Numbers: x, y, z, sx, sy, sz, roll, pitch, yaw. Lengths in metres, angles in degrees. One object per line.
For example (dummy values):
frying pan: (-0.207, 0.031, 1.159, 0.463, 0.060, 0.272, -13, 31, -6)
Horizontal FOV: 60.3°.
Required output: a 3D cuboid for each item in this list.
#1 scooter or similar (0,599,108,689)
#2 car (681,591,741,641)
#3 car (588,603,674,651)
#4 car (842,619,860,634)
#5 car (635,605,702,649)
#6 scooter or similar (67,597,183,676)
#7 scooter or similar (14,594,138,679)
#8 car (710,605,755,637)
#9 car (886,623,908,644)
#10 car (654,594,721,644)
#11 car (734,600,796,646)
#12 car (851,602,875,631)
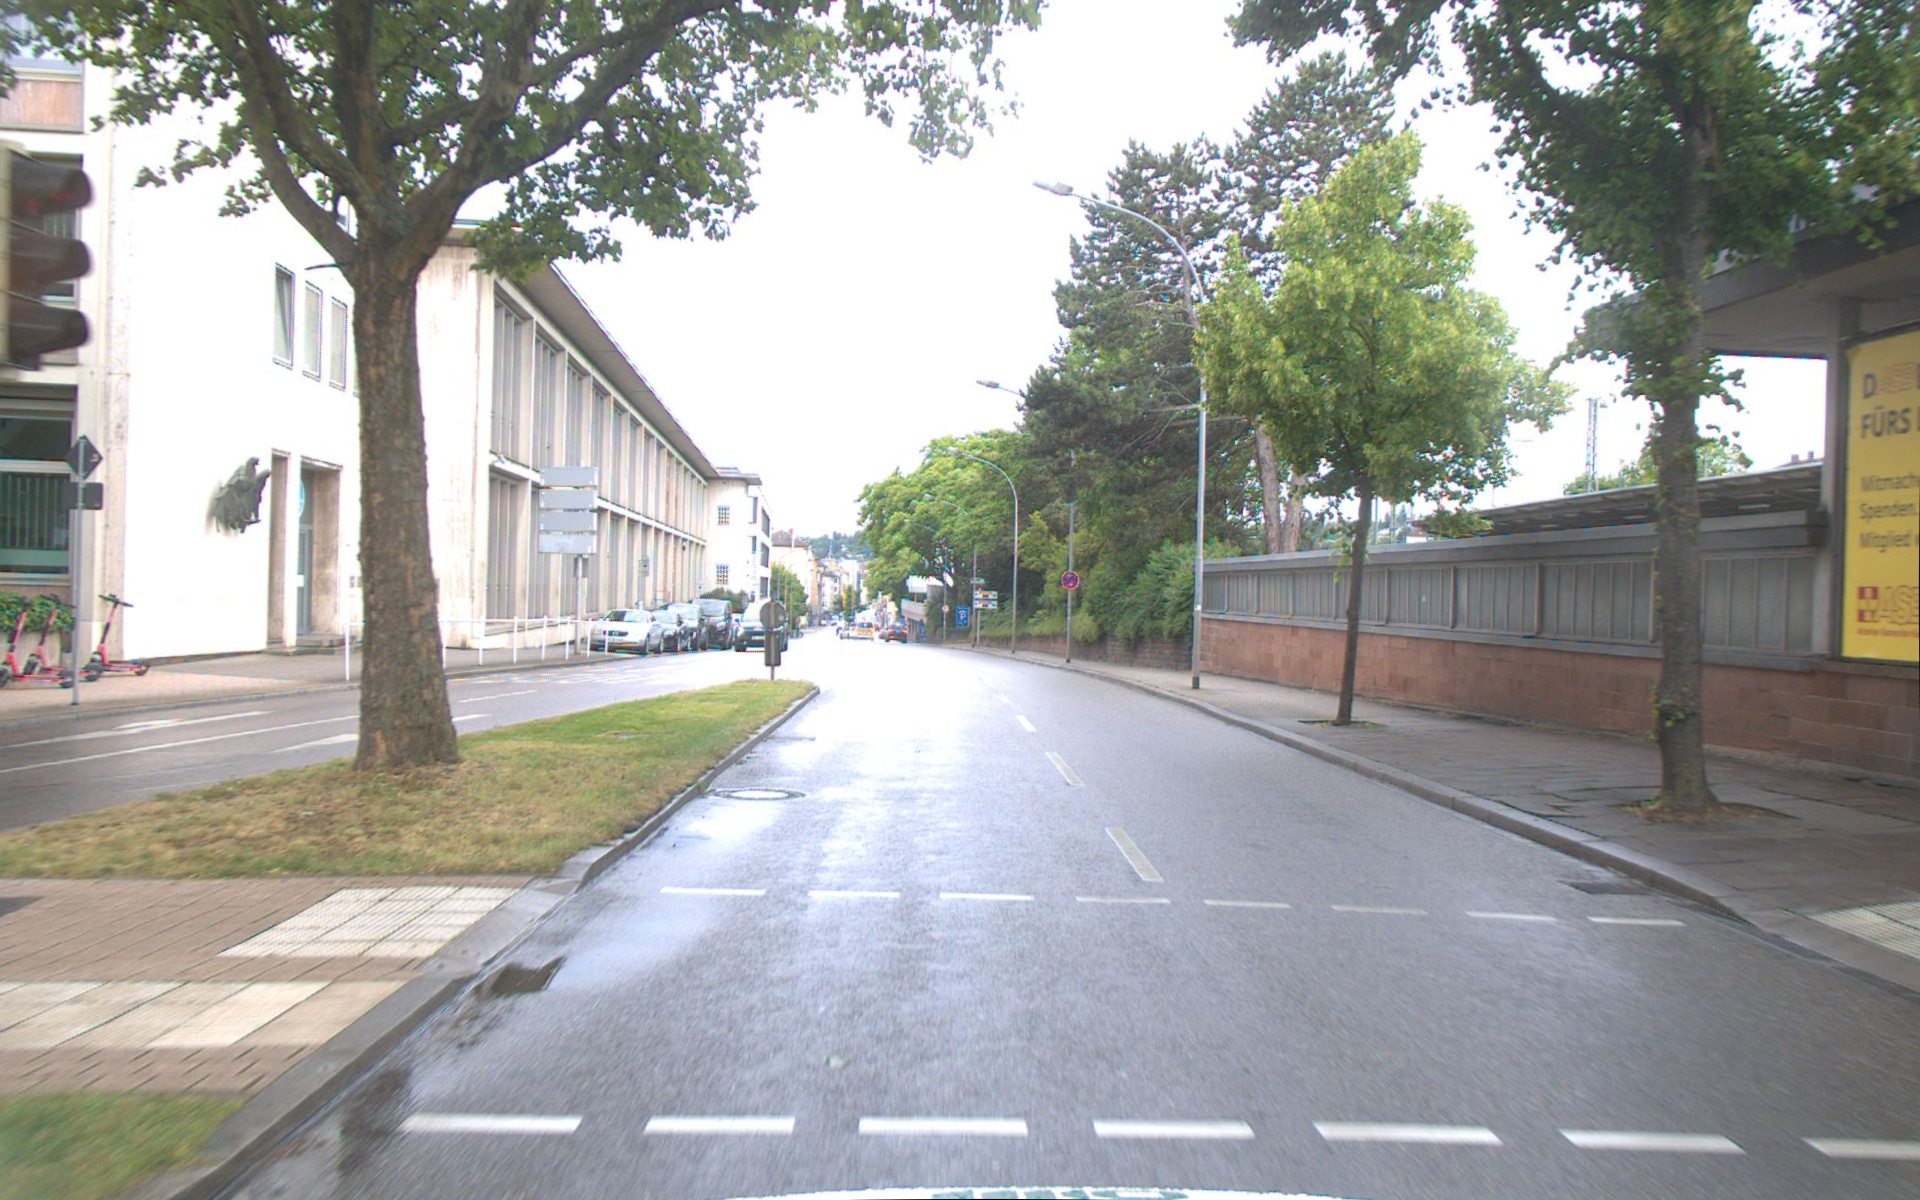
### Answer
scooter or similar: (-12.739, 0.591, 22.984, 0.596, 1.213, 1.524, 0, 0, 32)
car: (-10.331, 0.669, 68.906, 1.910, 1.978, 4.993, 1, 0, -3)
car: (-9.788, 0.785, 49.461, 1.656, 1.320, 4.093, 2, 0, 1)
car: (-13.625, 3.281, 206.531, 1.957, 1.709, 3.992, 1, 0, -9)
car: (-9.694, 0.878, 55.243, 1.511, 1.377, 4.109, 2, 0, -1)
scooter or similar: (-12.922, 0.548, 25.618, 0.596, 1.184, 1.524, 0, 0, 32)
scooter or similar: (-12.968, 0.515, 24.293, 0.596, 1.213, 1.524, 0, 0, 32)
car: (-11.544, 1.057, 84.121, 1.779, 1.510, 4.906, 2, -1, -3)
car: (-6.178, 3.280, 161.964, 2.050, 1.944, 4.097, 0, 0, -4)
car: (-9.900, 0.700, 60.333, 1.761, 1.705, 4.601, 2, 0, -2)
car: (-7.375, 0.856, 62.927, 1.784, 1.689, 4.337, 0, 0, 0)
car: (-9.223, 1.565, 158.202, 2.219, 2.703, 3.998, -1, 0, -3)
